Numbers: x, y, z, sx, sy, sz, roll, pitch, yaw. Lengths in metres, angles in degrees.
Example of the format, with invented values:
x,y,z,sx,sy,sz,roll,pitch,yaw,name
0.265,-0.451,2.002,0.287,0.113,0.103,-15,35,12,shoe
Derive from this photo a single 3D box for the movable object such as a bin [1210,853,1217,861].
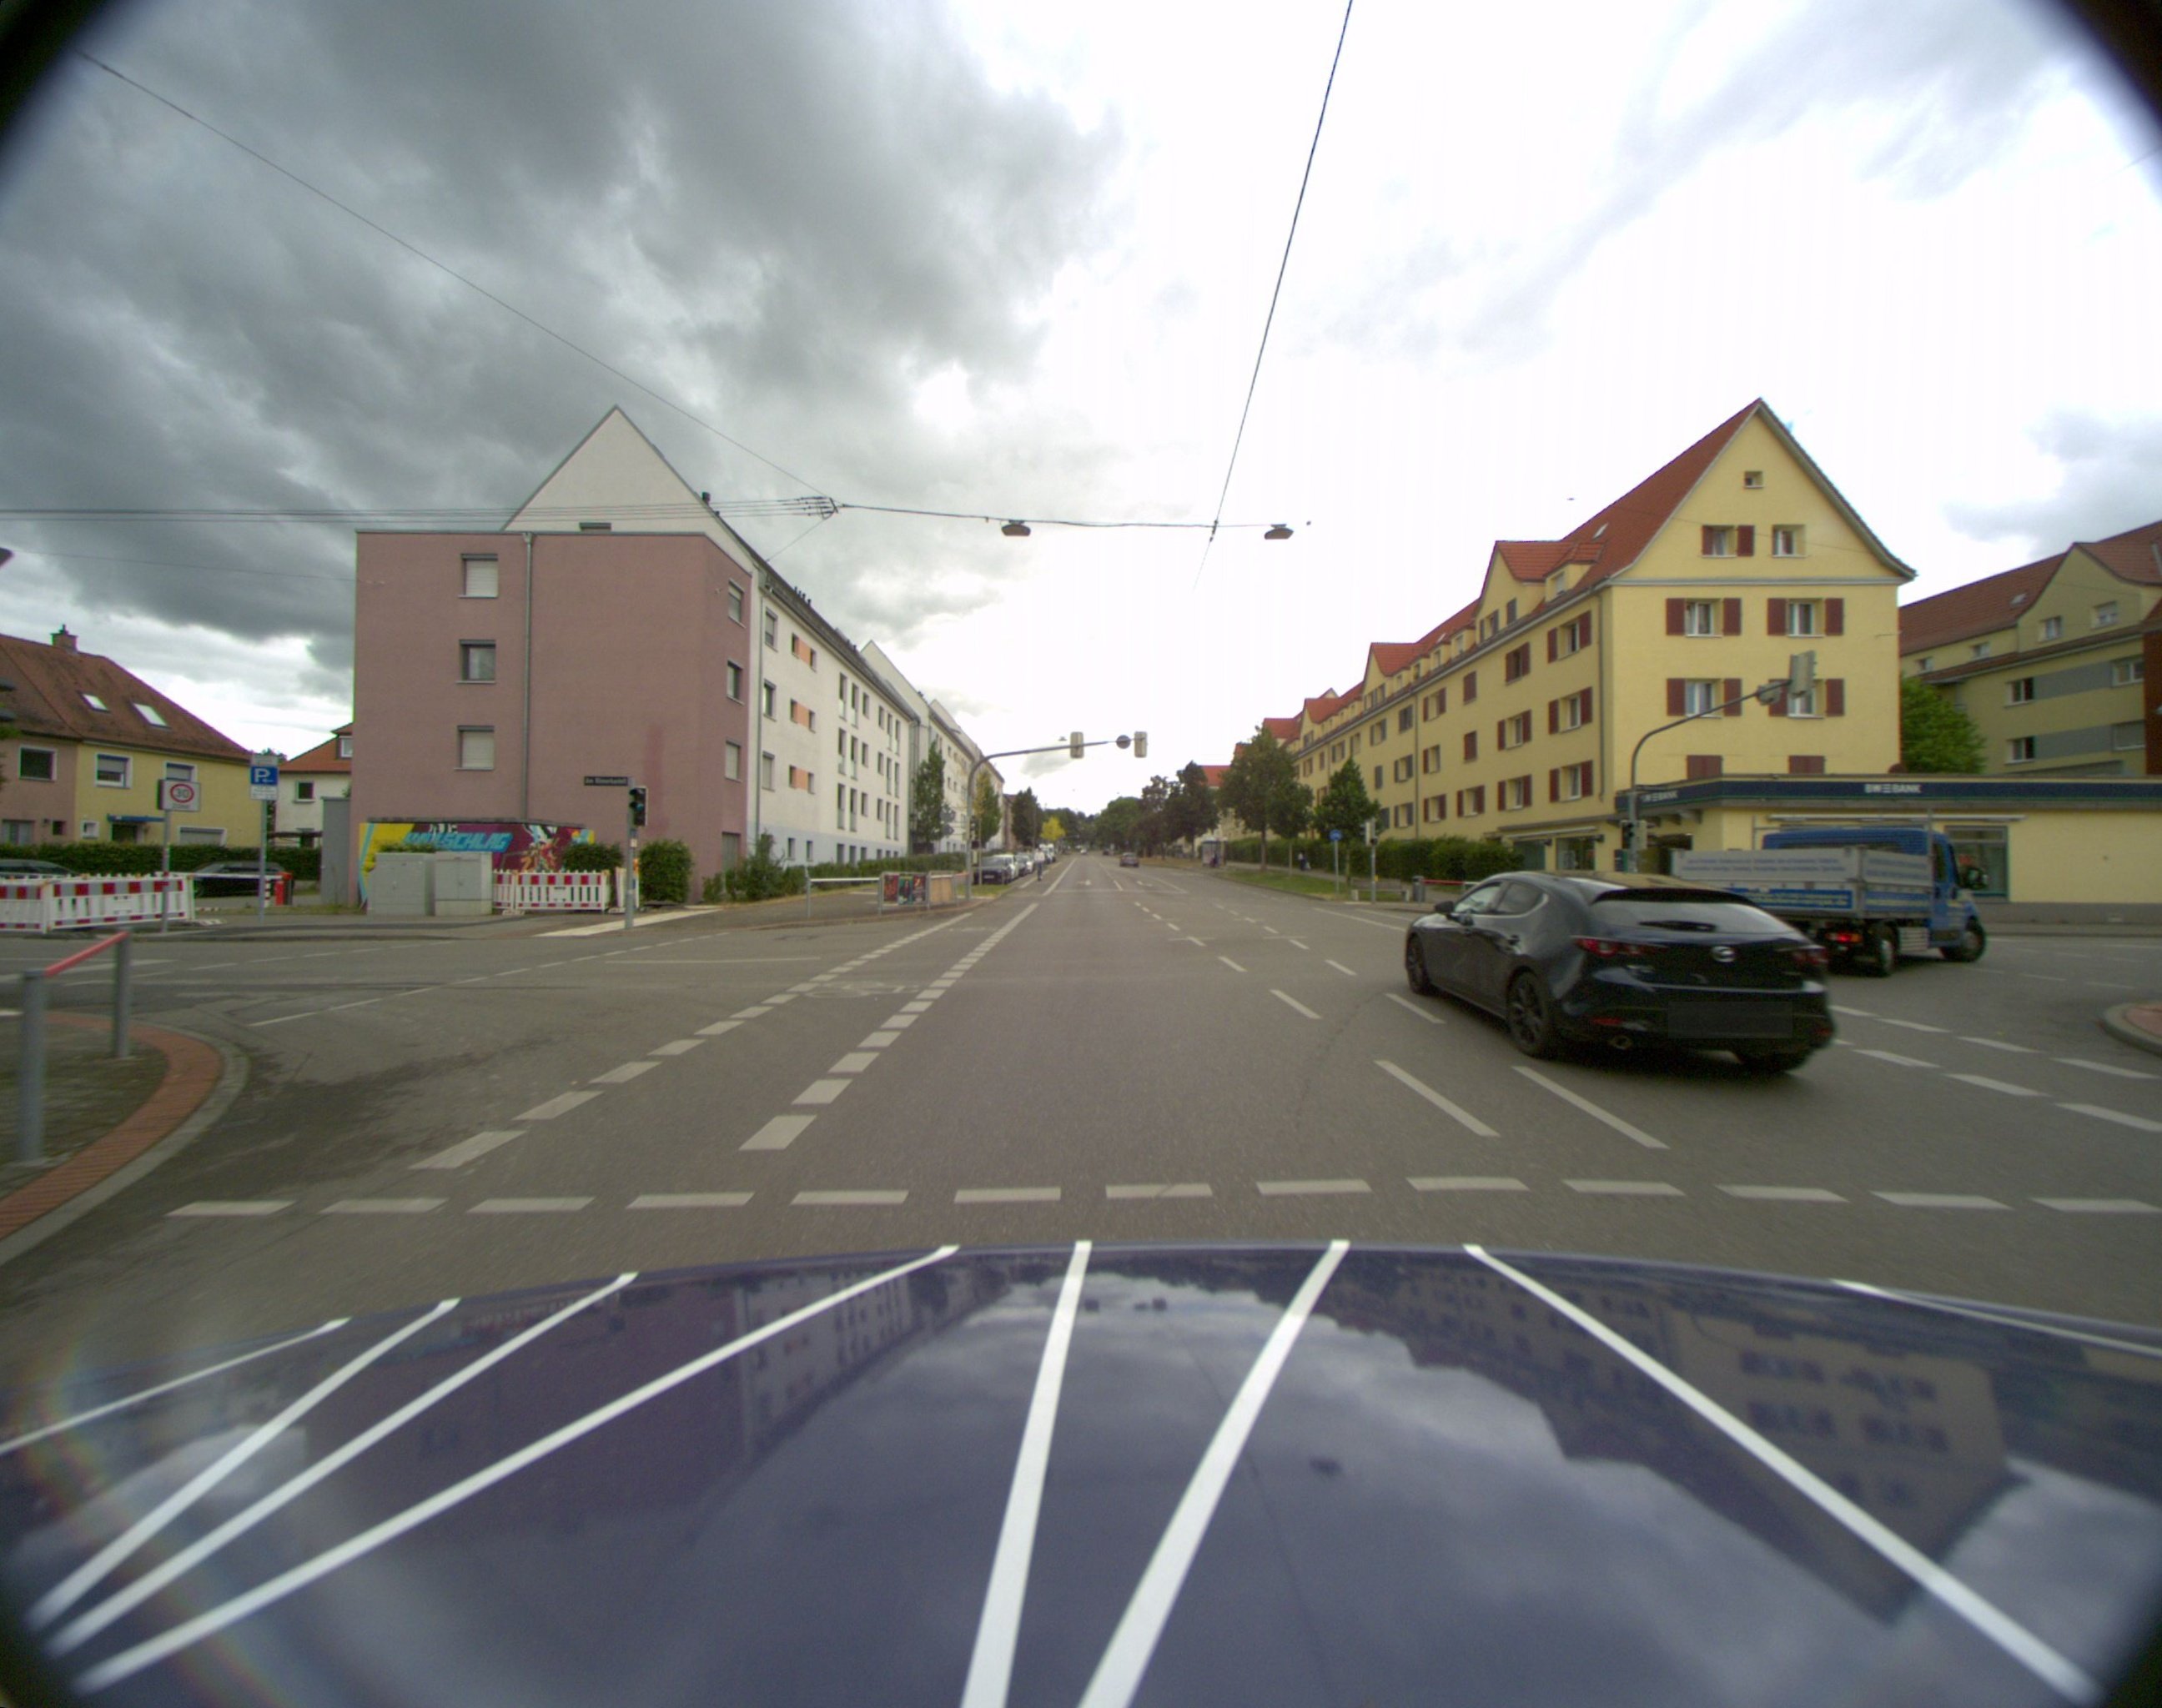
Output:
x,y,z,sx,sy,sz,roll,pitch,yaw,name
12.733,0.287,72.951,0.538,0.841,0.665,-1,1,1,movable object such as a bin

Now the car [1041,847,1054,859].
x,y,z,sx,sy,sz,roll,pitch,yaw,name
-4.237,-0.158,96.565,1.529,1.477,3.726,-2,1,0,car

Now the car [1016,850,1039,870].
x,y,z,sx,sy,sz,roll,pitch,yaw,name
-4.614,0.519,65.796,1.636,1.641,4.356,-2,1,1,car

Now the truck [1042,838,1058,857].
x,y,z,sx,sy,sz,roll,pitch,yaw,name
-4.136,-0.877,102.083,2.058,2.550,5.688,0,0,-1,truck

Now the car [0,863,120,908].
x,y,z,sx,sy,sz,roll,pitch,yaw,name
-33.210,0.943,23.583,1.750,1.347,3.898,0,-1,1,car

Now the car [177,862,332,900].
x,y,z,sx,sy,sz,roll,pitch,yaw,name
-32.943,1.048,30.458,1.750,1.347,3.898,0,0,5,car

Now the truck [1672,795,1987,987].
x,y,z,sx,sy,sz,roll,pitch,yaw,name
12.278,0.489,12.294,6.423,2.413,2.296,1,1,-33,truck

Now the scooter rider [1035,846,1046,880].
x,y,z,sx,sy,sz,roll,pitch,yaw,name
-2.444,0.542,45.855,0.627,2.002,0.757,0,1,-1,scooter rider

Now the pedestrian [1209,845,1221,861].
x,y,z,sx,sy,sz,roll,pitch,yaw,name
12.862,-0.071,72.934,0.901,1.501,0.806,-1,1,1,pedestrian

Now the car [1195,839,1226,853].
x,y,z,sx,sy,sz,roll,pitch,yaw,name
21.324,-1.284,125.296,4.729,2.240,1.995,0,1,1,car

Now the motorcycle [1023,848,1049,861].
x,y,z,sx,sy,sz,roll,pitch,yaw,name
-4.493,0.054,76.513,2.605,1.271,0.753,0,1,-4,motorcycle

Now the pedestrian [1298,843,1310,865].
x,y,z,sx,sy,sz,roll,pitch,yaw,name
16.326,-0.002,55.652,0.642,1.610,0.618,0,1,-1,pedestrian

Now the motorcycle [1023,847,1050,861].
x,y,z,sx,sy,sz,roll,pitch,yaw,name
-4.427,0.039,75.495,2.605,1.372,0.692,0,1,-4,motorcycle

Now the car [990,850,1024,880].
x,y,z,sx,sy,sz,roll,pitch,yaw,name
-4.658,0.656,48.386,1.663,1.706,4.551,-2,1,0,car

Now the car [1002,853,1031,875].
x,y,z,sx,sy,sz,roll,pitch,yaw,name
-4.654,0.667,55.236,1.750,1.459,4.948,-2,1,-1,car

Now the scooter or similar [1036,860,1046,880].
x,y,z,sx,sy,sz,roll,pitch,yaw,name
-2.415,0.960,45.681,0.492,1.156,2.074,0,1,0,scooter or similar

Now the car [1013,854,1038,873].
x,y,z,sx,sy,sz,roll,pitch,yaw,name
-4.400,0.724,60.713,1.734,1.405,4.499,-2,1,-1,car

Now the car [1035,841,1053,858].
x,y,z,sx,sy,sz,roll,pitch,yaw,name
-4.417,-0.517,91.512,1.999,1.932,5.210,0,0,0,car

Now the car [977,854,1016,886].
x,y,z,sx,sy,sz,roll,pitch,yaw,name
-4.693,0.837,42.741,1.739,1.579,4.571,-2,1,-1,car

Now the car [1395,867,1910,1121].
x,y,z,sx,sy,sz,roll,pitch,yaw,name
4.366,0.887,6.787,1.706,1.406,4.194,2,0,6,car

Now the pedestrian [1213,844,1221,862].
x,y,z,sx,sy,sz,roll,pitch,yaw,name
12.603,-0.088,70.419,0.598,1.717,0.861,-1,1,3,pedestrian

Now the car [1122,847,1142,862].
x,y,z,sx,sy,sz,roll,pitch,yaw,name
5.366,0.066,80.580,1.761,1.464,4.305,3,0,-1,car
